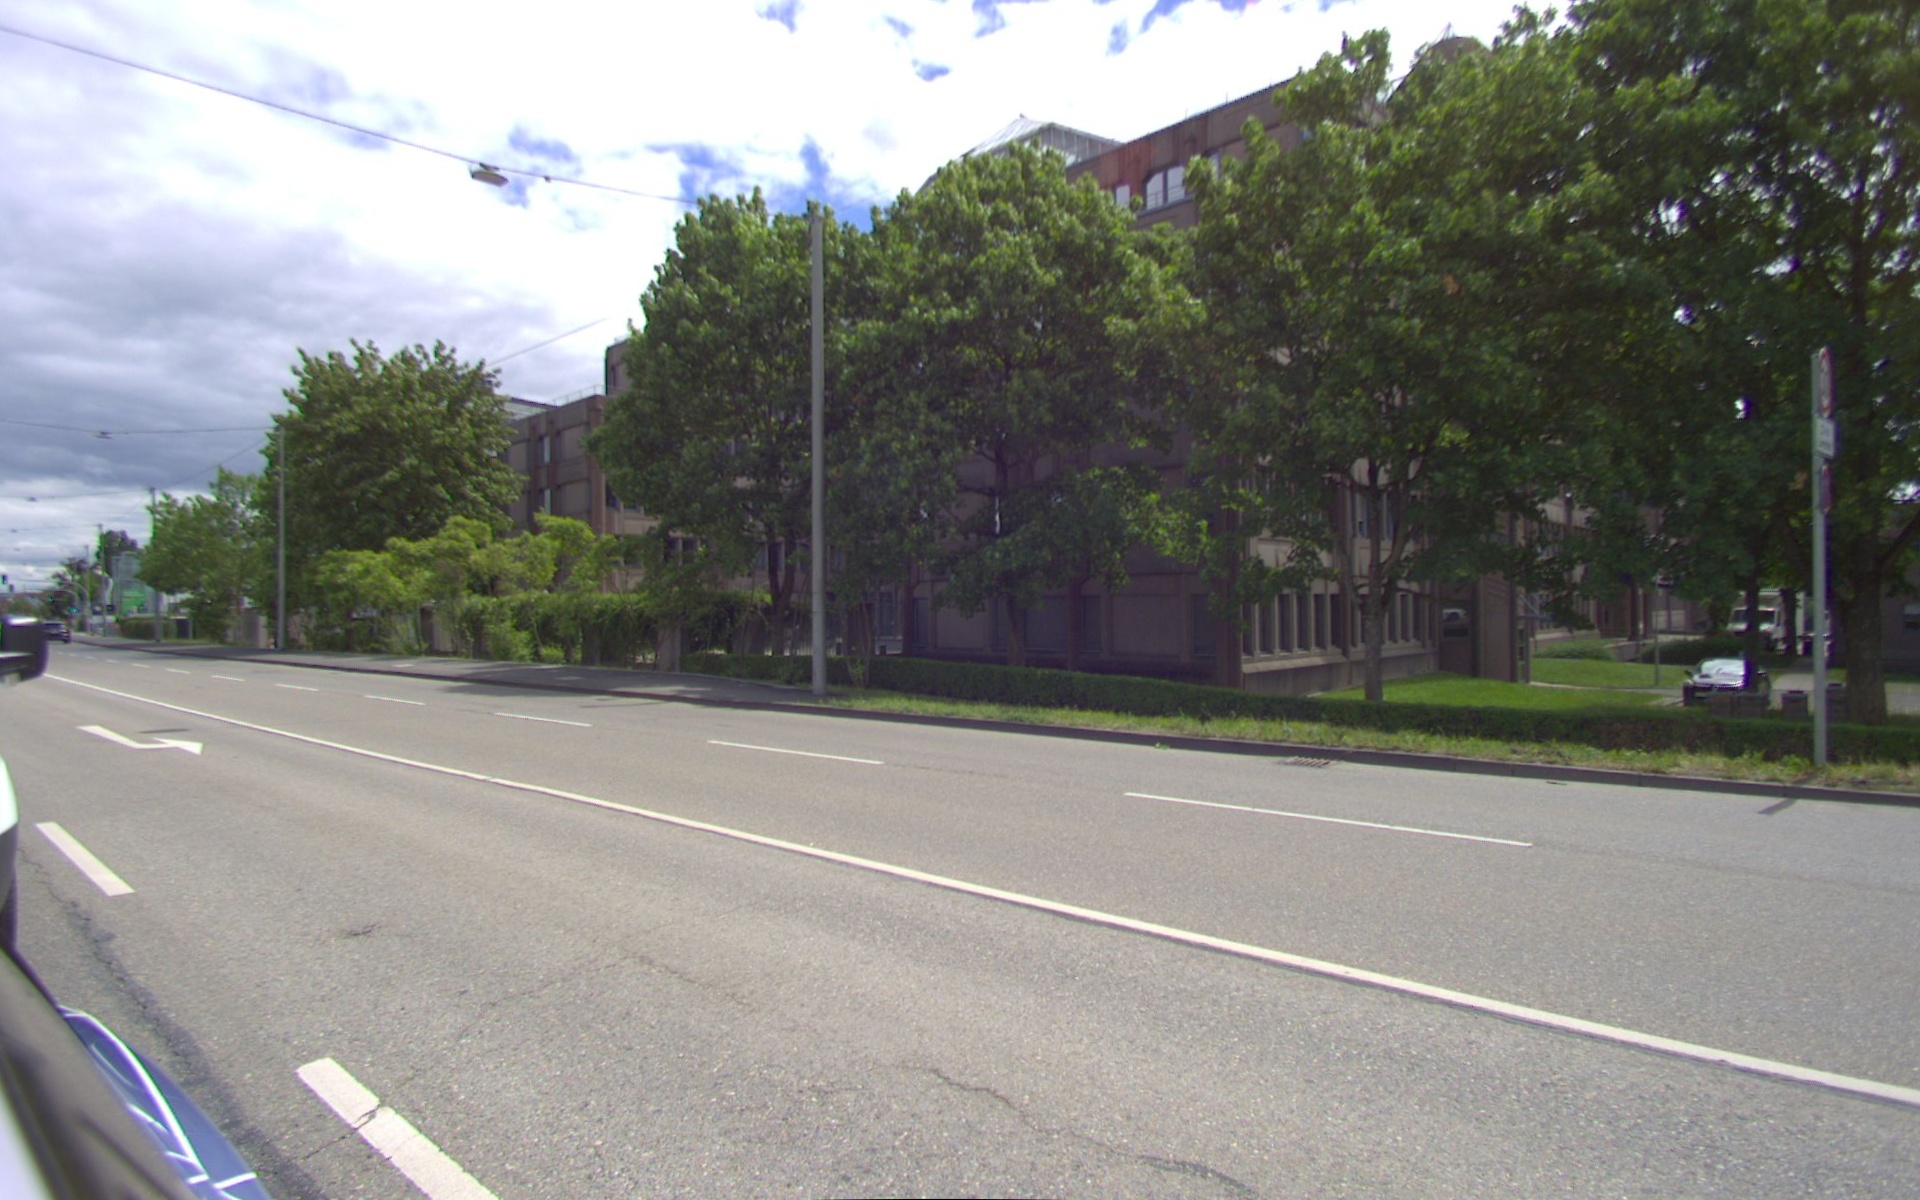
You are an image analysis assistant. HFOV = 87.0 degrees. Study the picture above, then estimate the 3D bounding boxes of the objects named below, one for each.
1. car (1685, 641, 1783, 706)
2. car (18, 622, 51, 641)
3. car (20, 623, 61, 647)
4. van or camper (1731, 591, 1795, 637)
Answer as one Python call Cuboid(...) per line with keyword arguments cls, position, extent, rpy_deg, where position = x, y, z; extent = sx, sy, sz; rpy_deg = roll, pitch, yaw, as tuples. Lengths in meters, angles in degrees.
Cuboid(cls="car", position=(22.579, 2.099, 29.471), extent=(1.787, 1.741, 3.941), rpy_deg=(-1, -3, 45))
Cuboid(cls="car", position=(-84.758, 2.881, 92.637), extent=(4.312, 1.597, 1.777), rpy_deg=(-1, 0, 42))
Cuboid(cls="car", position=(-66.959, 2.509, 73.689), extent=(4.572, 1.627, 1.847), rpy_deg=(-1, -1, 43))
Cuboid(cls="van or camper", position=(39.728, 0.661, 50.018), extent=(2.356, 2.120, 5.136), rpy_deg=(0, 0, 40))
